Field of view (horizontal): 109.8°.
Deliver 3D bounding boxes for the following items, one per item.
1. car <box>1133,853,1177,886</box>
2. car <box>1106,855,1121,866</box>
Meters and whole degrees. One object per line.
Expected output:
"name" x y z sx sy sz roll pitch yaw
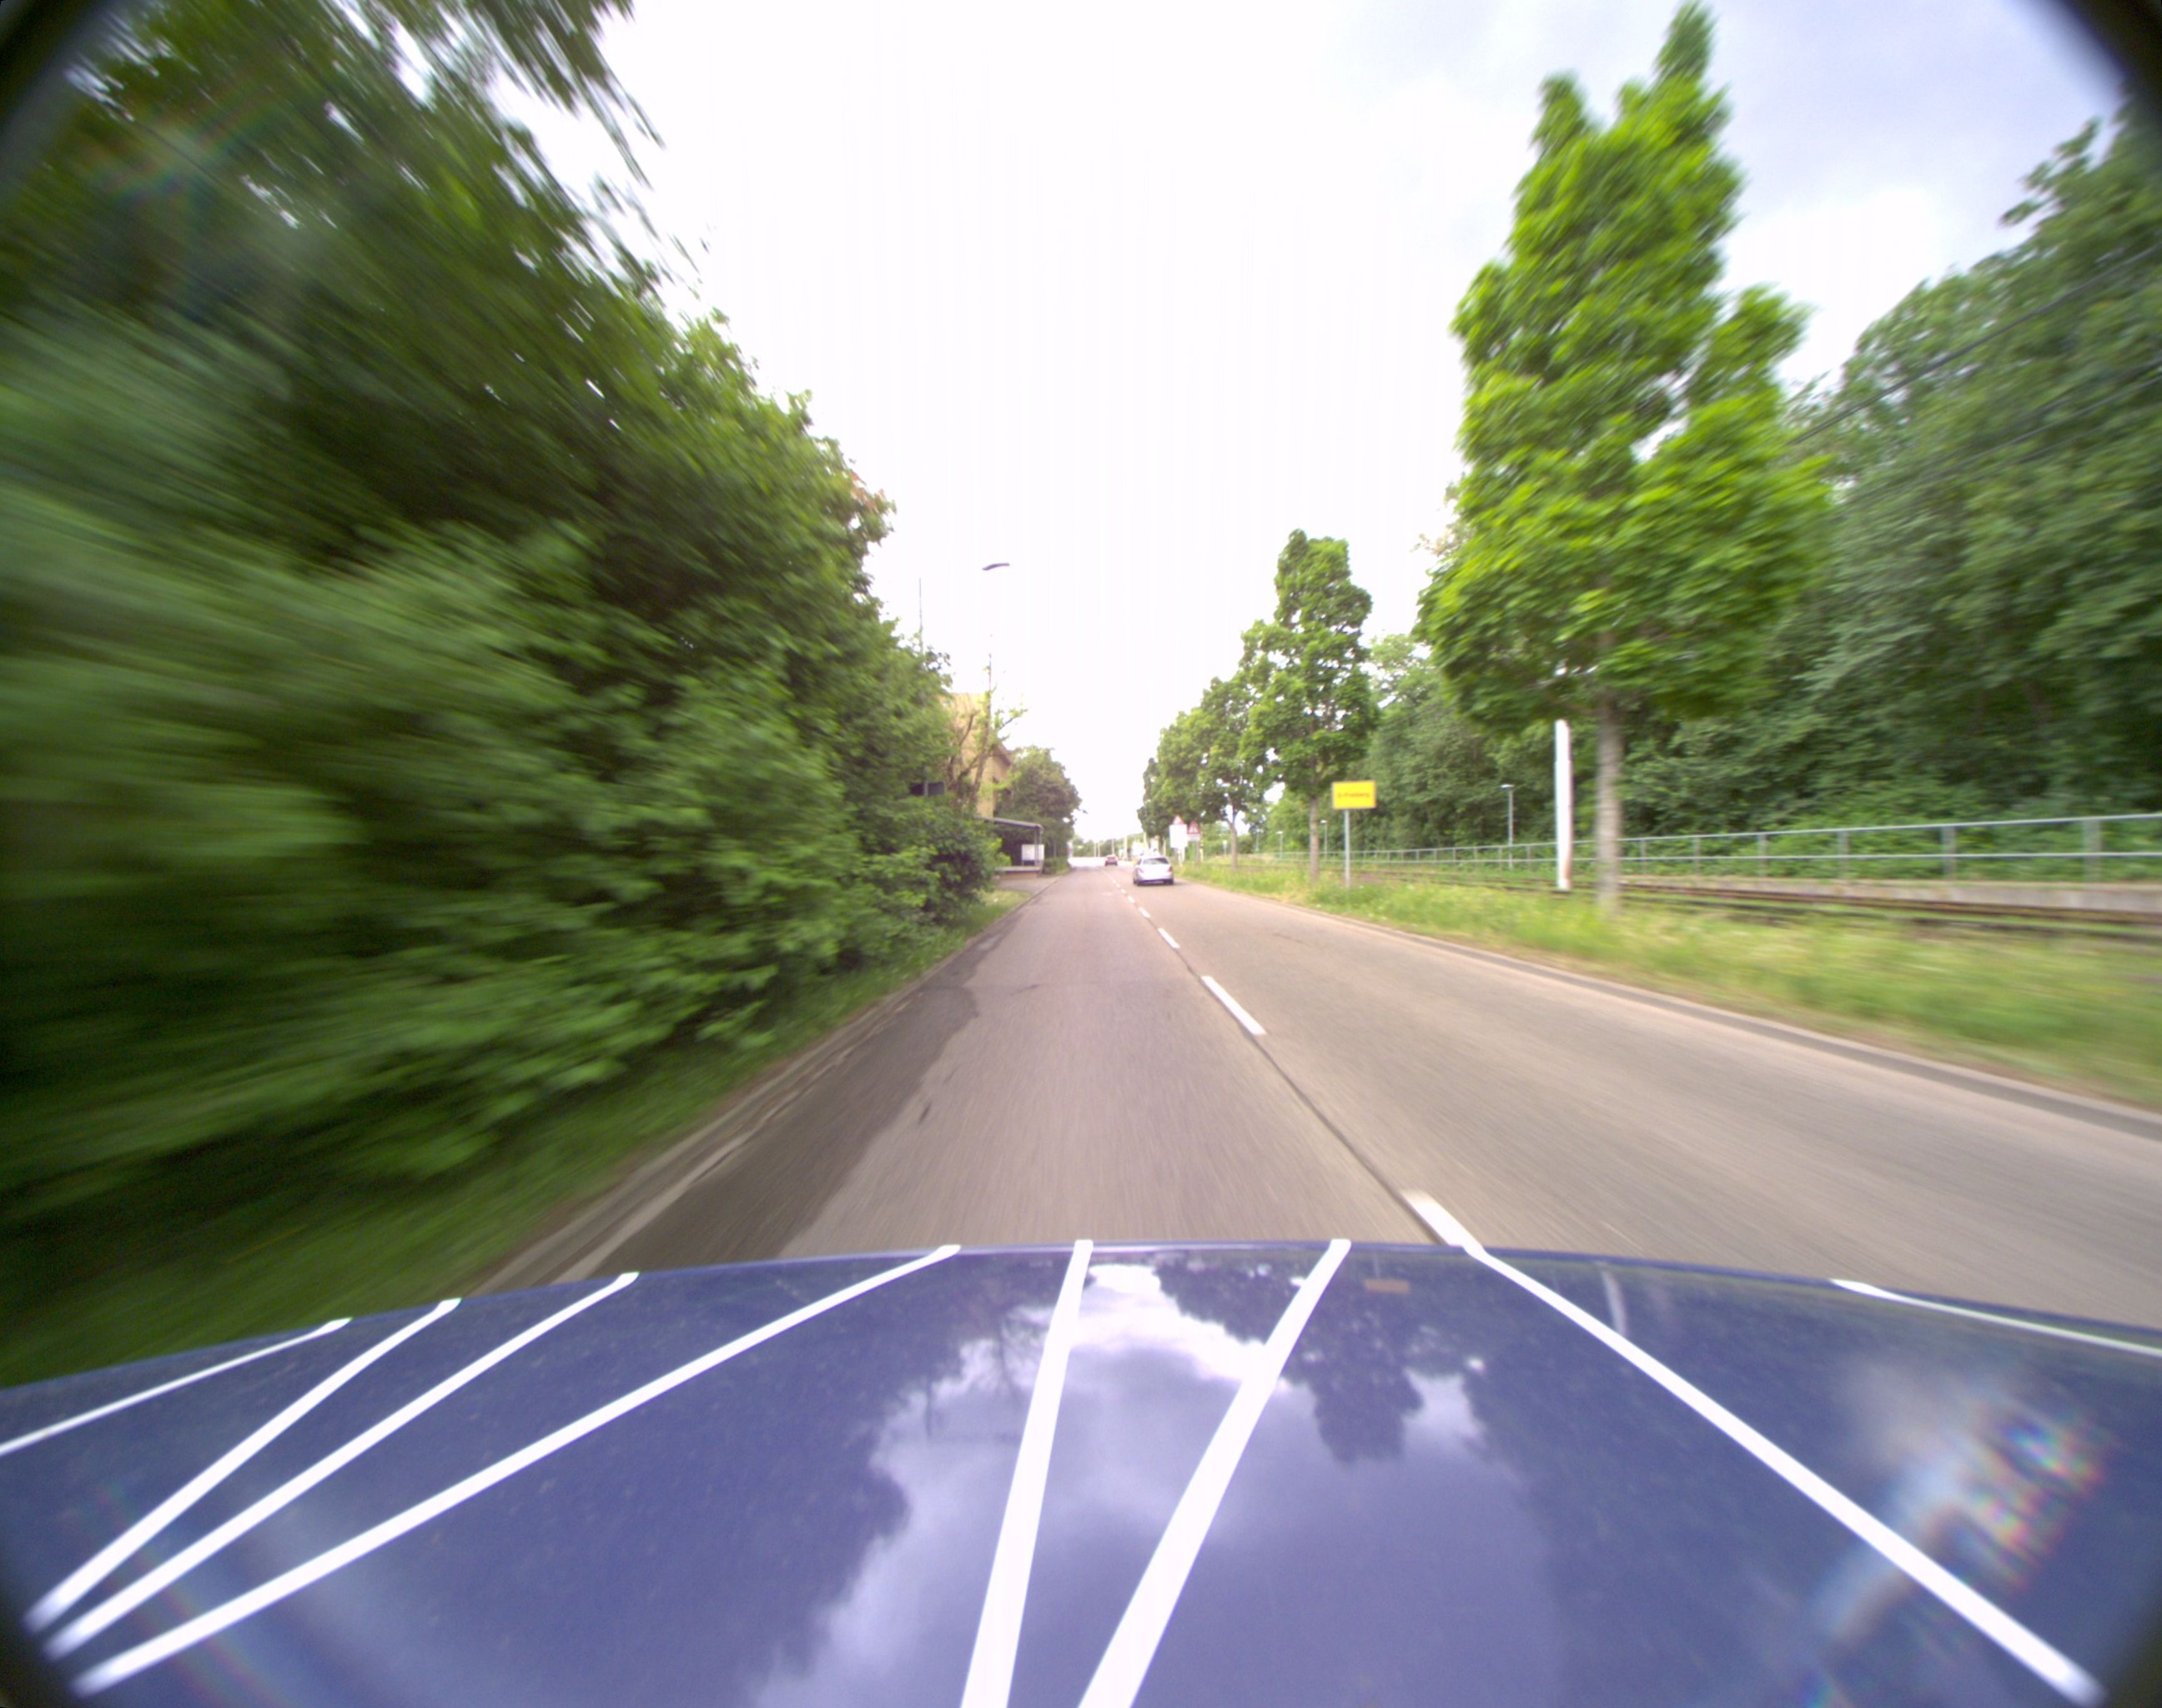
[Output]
"car" 3.582 0.716 37.378 1.778 1.460 4.242 -2 0 1
"car" 4.656 0.888 108.029 2.038 1.508 3.654 -2 0 1
